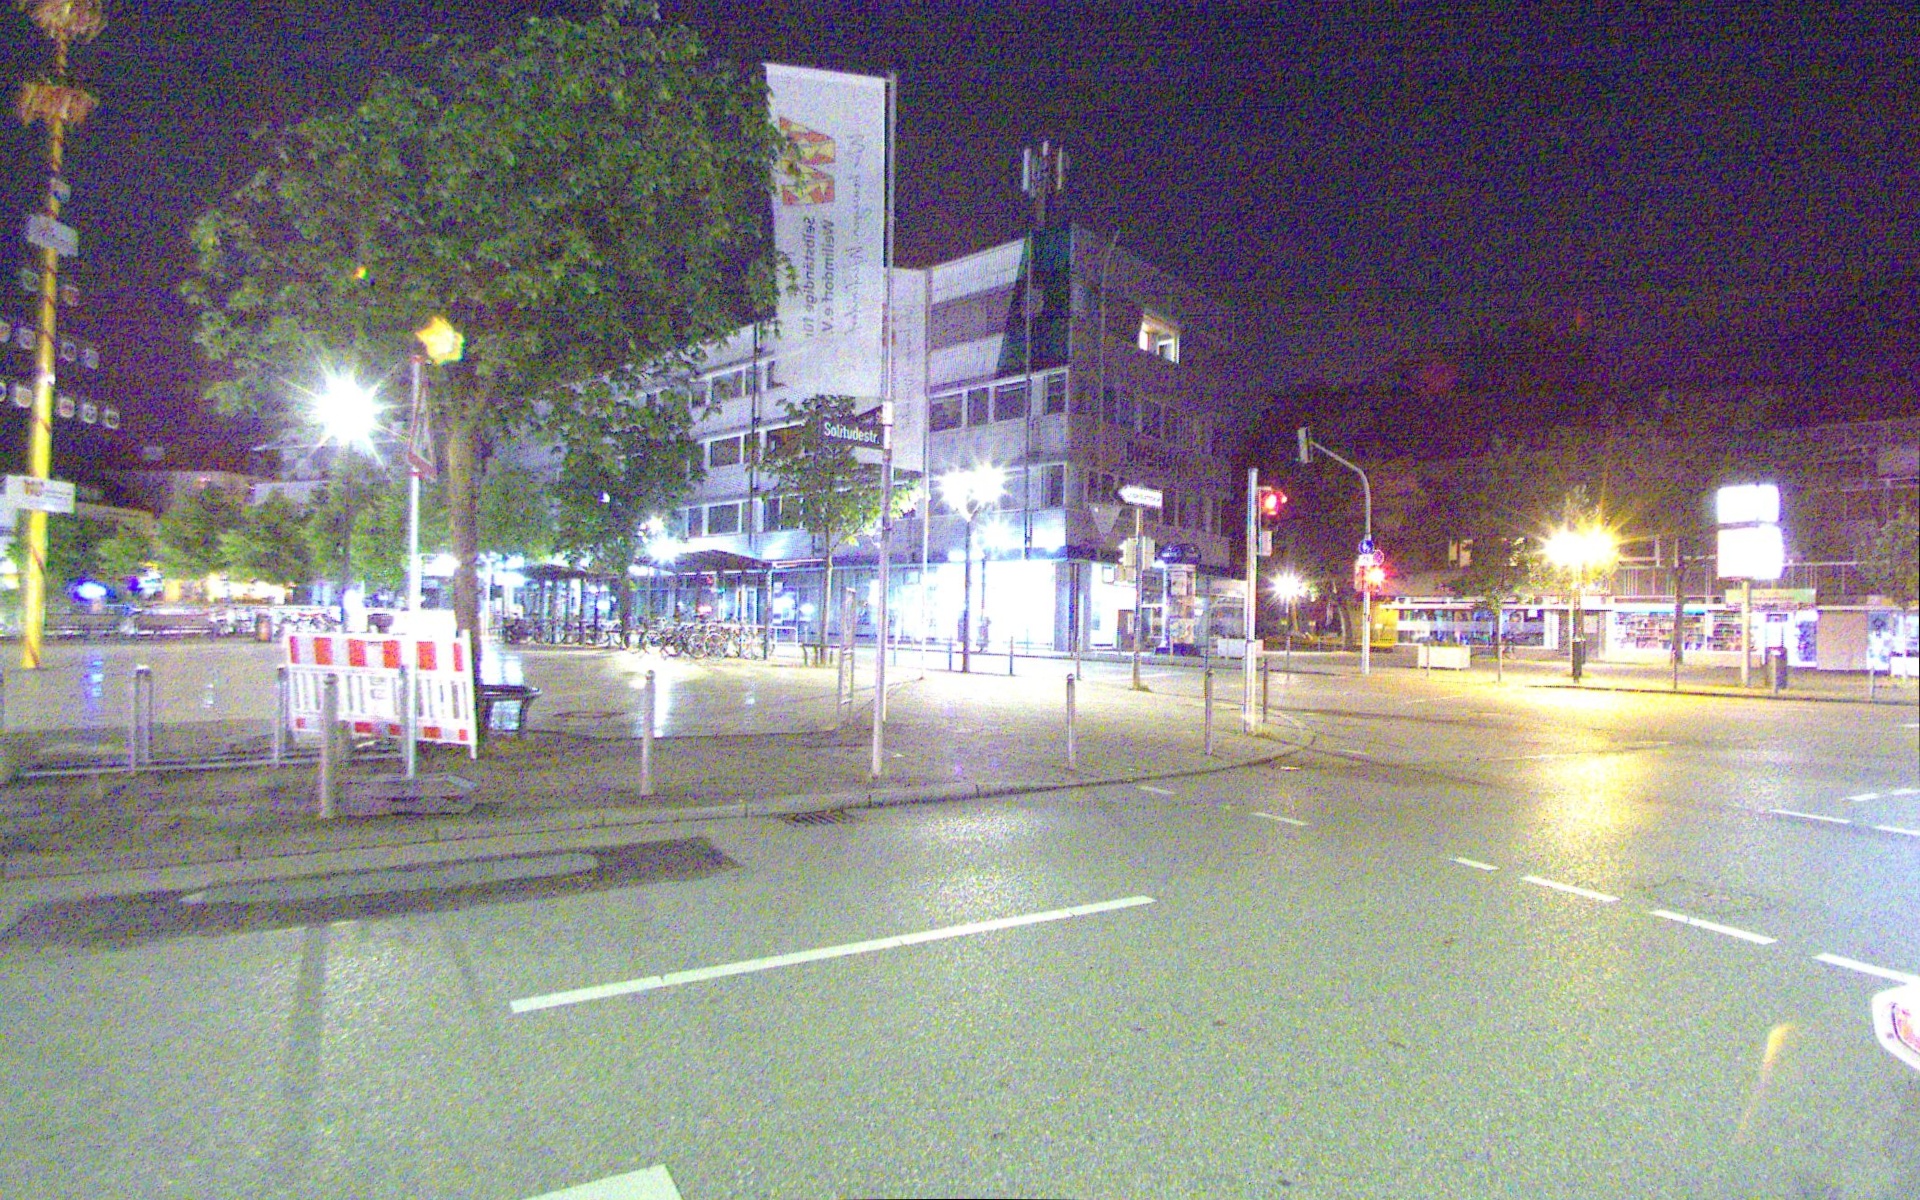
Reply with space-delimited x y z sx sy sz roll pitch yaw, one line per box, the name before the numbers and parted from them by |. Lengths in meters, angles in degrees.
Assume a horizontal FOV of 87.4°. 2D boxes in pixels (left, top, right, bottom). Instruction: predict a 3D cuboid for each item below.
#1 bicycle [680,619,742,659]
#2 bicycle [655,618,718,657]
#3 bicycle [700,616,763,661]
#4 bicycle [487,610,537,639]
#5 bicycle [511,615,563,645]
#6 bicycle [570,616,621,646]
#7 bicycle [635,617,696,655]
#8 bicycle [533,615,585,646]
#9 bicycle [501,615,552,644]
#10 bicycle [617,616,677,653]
bicycle | -6.336 0.989 25.604 0.440 0.970 1.525 2 0 43
bicycle | -7.110 0.977 26.140 0.473 0.970 1.525 2 0 43
bicycle | -5.652 0.953 24.922 0.440 1.068 1.525 2 0 43
bicycle | -15.553 0.854 34.879 0.473 0.970 1.525 2 0 43
bicycle | -14.187 0.994 33.734 0.473 0.970 1.525 2 0 43
bicycle | -12.031 1.016 33.167 0.473 0.970 1.525 2 0 43
bicycle | -7.853 0.964 26.819 0.473 0.970 1.525 2 0 43
bicycle | -13.185 1.006 33.054 0.473 0.970 1.525 2 0 43
bicycle | -14.829 1.002 34.397 0.473 0.970 1.525 2 0 43
bicycle | -8.533 0.947 27.420 0.473 0.970 1.525 2 0 43
